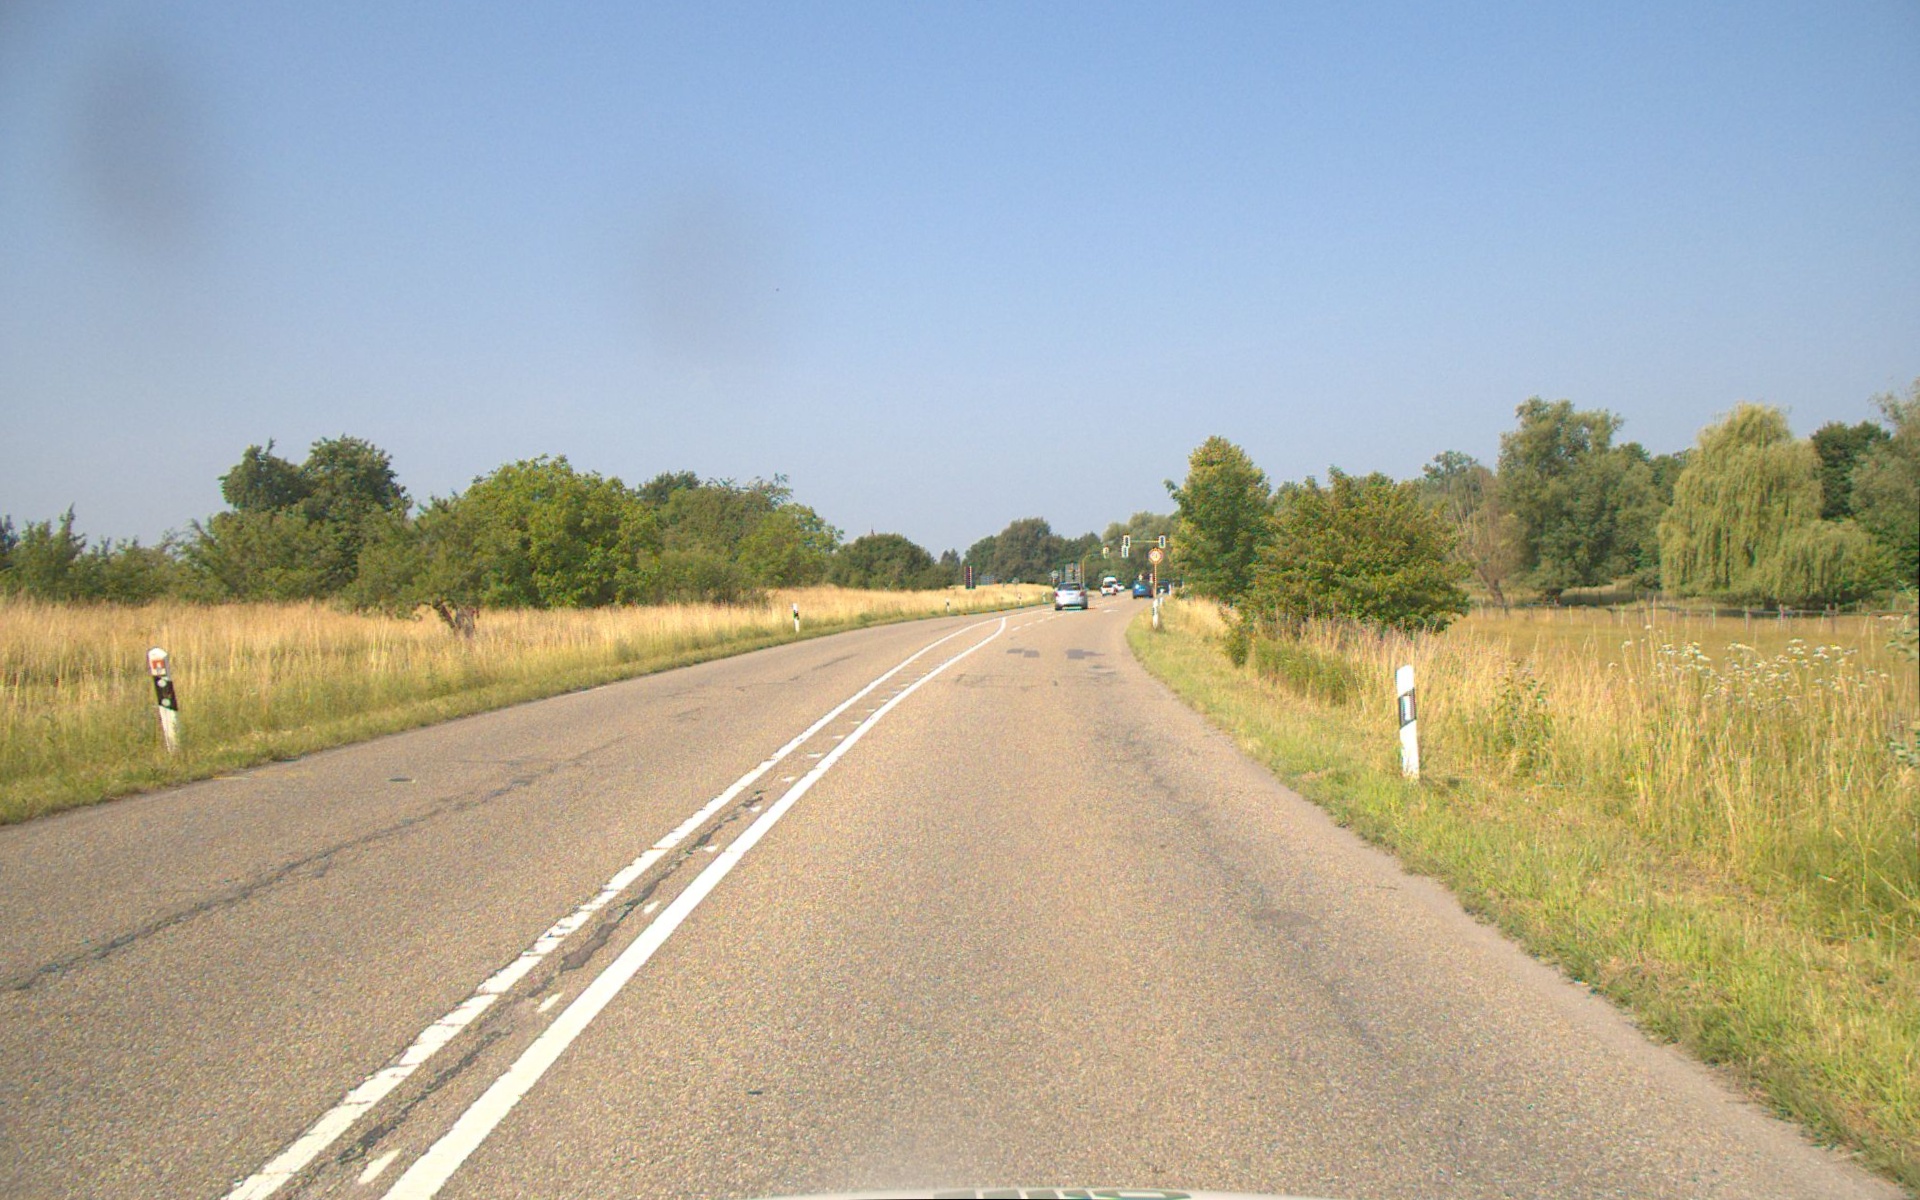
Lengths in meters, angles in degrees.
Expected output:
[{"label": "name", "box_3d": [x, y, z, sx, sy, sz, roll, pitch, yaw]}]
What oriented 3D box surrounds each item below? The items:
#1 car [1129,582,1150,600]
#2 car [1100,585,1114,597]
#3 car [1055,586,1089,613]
[{"label": "car", "box_3d": [16.390, -0.824, 150.953, 1.777, 1.547, 4.003, 1, 1, 8]}, {"label": "car", "box_3d": [21.135, -1.286, 237.691, 1.796, 1.724, 3.862, -1, 0, 9]}, {"label": "car", "box_3d": [6.620, -0.045, 98.125, 1.859, 1.538, 4.001, 1, 1, 2]}]
